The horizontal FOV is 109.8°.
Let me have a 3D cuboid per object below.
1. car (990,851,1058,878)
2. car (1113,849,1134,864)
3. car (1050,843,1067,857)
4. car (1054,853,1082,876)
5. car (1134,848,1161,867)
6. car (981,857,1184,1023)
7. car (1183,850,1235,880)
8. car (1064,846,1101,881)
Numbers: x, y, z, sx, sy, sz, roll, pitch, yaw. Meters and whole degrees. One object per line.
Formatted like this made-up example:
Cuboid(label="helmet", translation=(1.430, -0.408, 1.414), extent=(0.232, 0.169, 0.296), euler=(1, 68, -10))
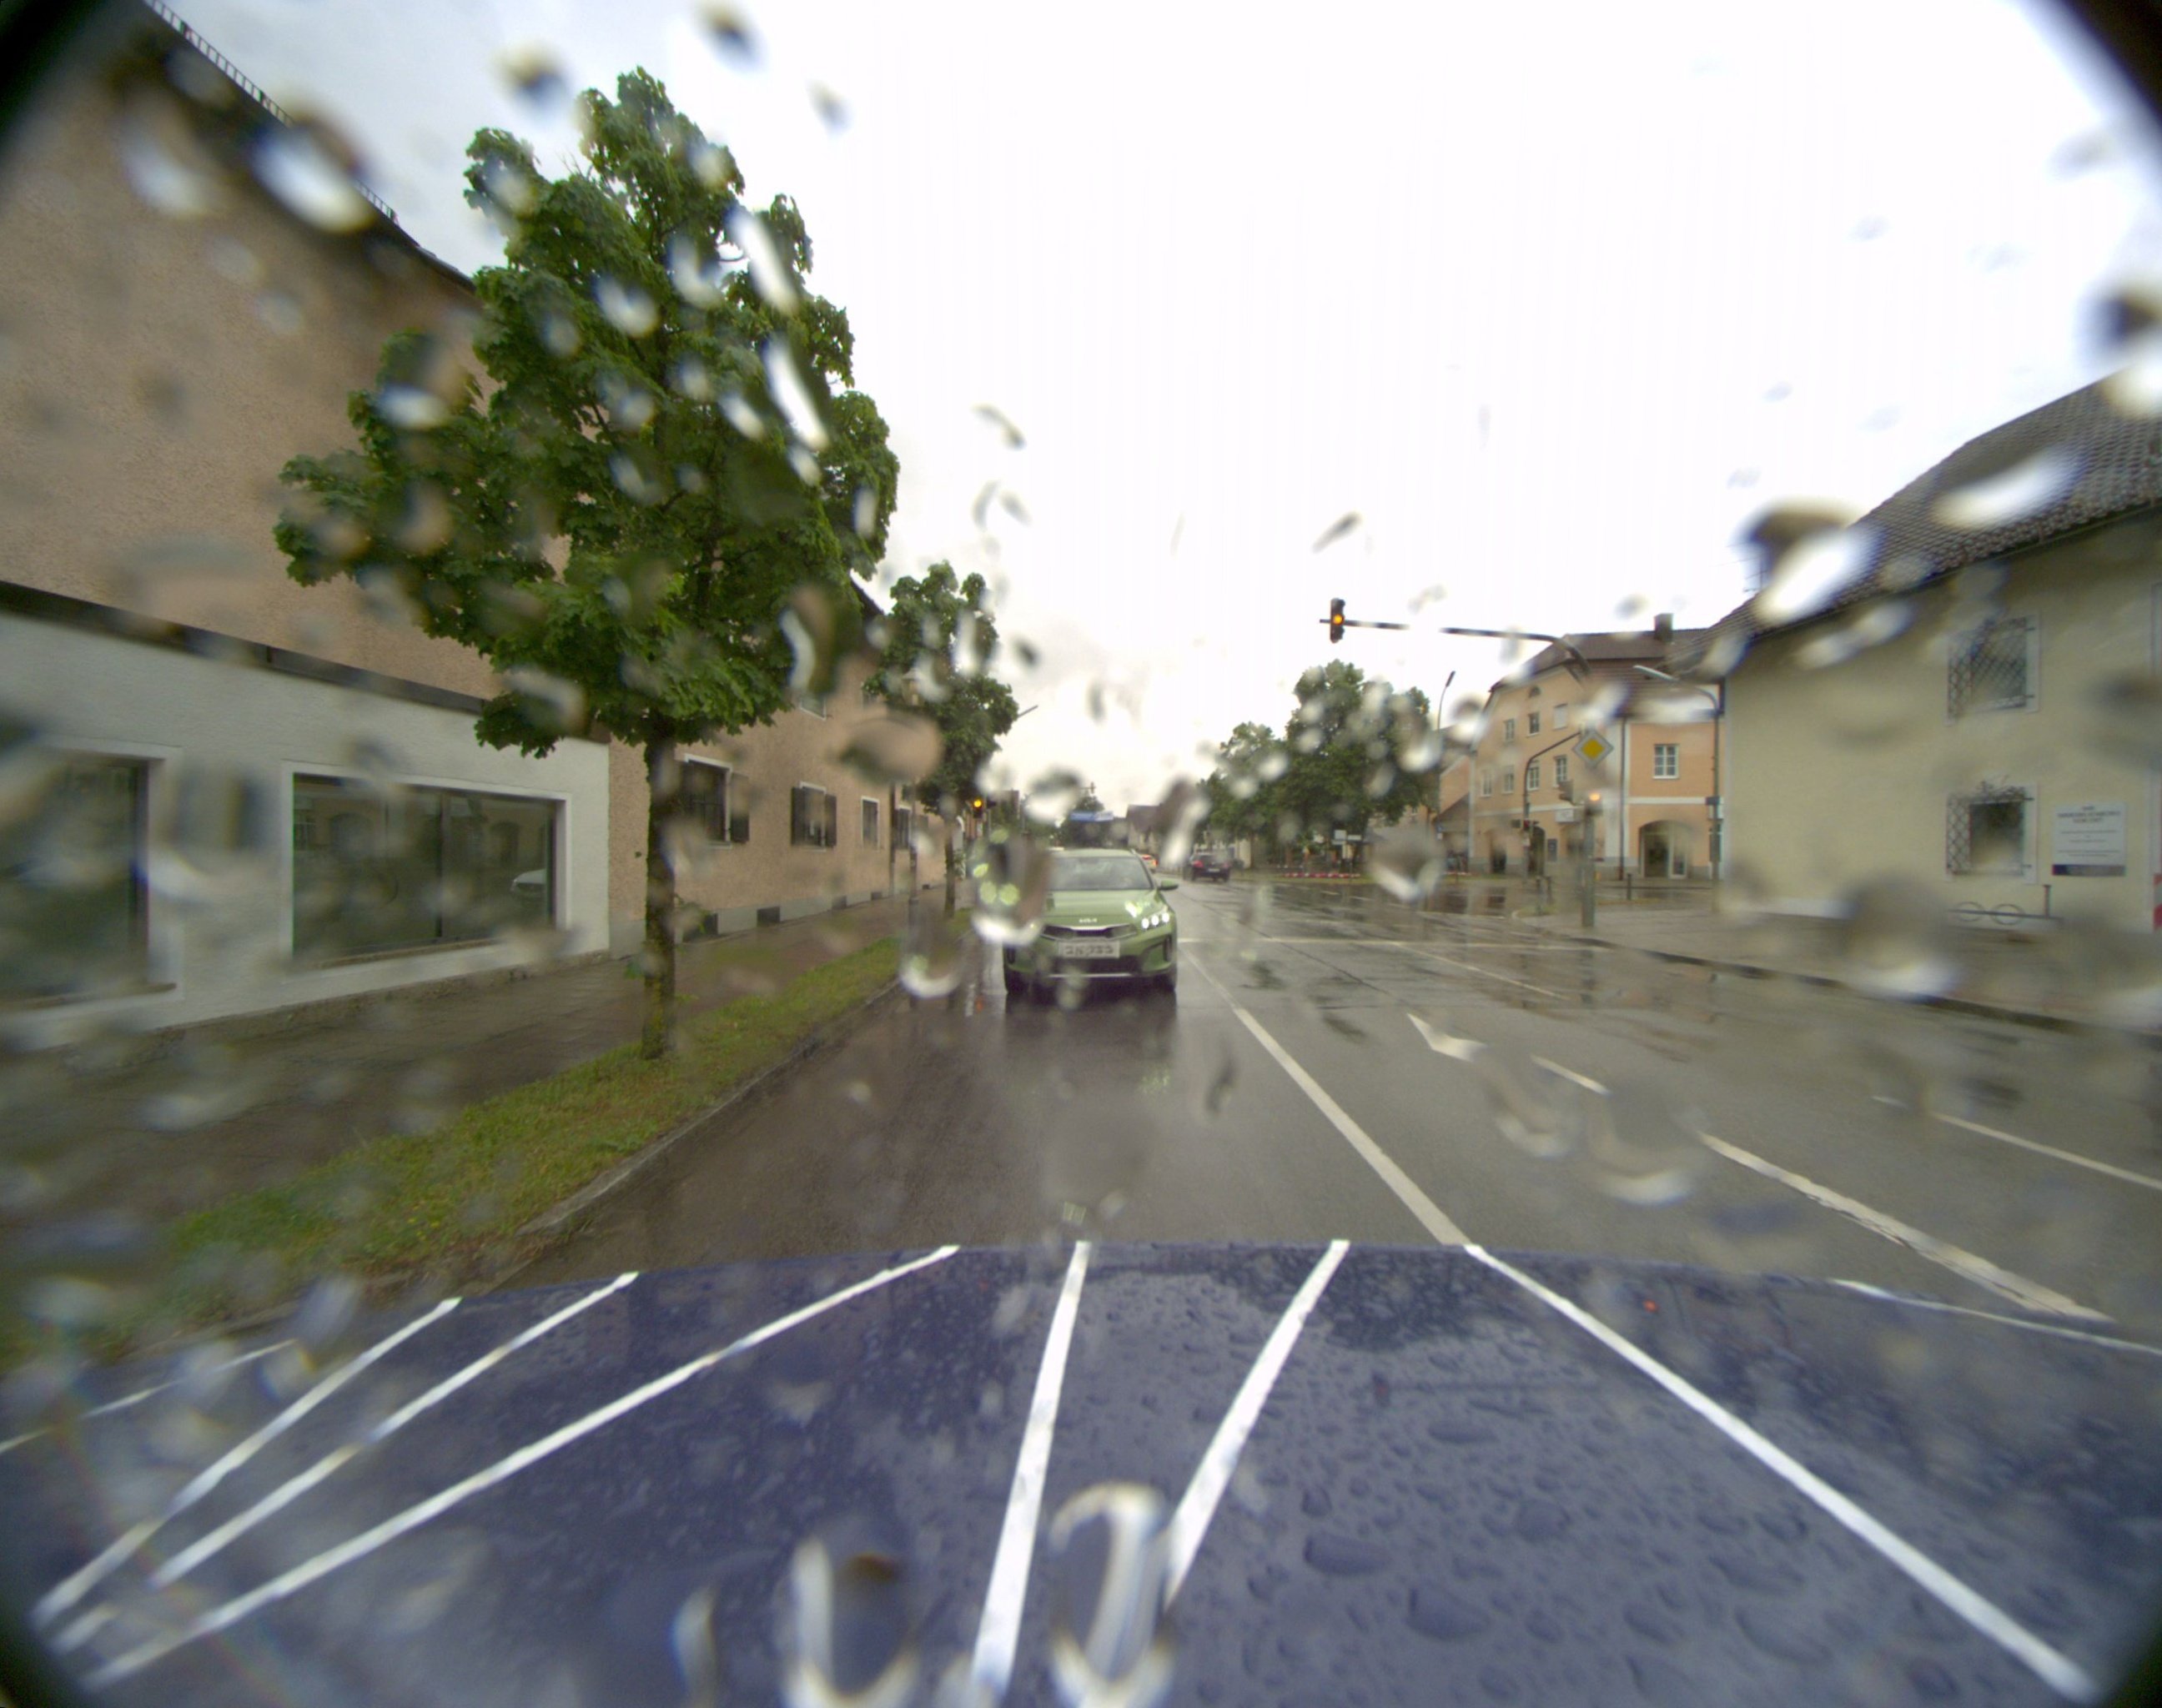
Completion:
Cuboid(label="car", translation=(-3.725, 0.657, 49.380), extent=(4.039, 1.656, 1.854), euler=(1, 1, -18))
Cuboid(label="car", translation=(4.436, 0.245, 79.400), extent=(1.931, 1.557, 4.125), euler=(0, 1, -1))
Cuboid(label="car", translation=(-3.411, -0.576, 113.741), extent=(2.218, 1.977, 4.952), euler=(1, 1, -5))
Cuboid(label="car", translation=(-0.891, 0.748, 55.719), extent=(1.839, 1.509, 4.669), euler=(1, 1, 1))
Cuboid(label="car", translation=(5.476, 0.240, 63.208), extent=(1.757, 1.502, 4.229), euler=(1, 1, -1))
Cuboid(label="car", translation=(0.058, 0.813, 9.166), extent=(1.872, 1.505, 4.105), euler=(-1, 0, 1))
Cuboid(label="car", translation=(6.318, 0.507, 37.949), extent=(2.001, 1.399, 3.883), euler=(1, 1, 2))
Cuboid(label="car", translation=(0.098, 0.413, 35.646), extent=(1.637, 1.509, 4.000), euler=(1, 1, 1))
